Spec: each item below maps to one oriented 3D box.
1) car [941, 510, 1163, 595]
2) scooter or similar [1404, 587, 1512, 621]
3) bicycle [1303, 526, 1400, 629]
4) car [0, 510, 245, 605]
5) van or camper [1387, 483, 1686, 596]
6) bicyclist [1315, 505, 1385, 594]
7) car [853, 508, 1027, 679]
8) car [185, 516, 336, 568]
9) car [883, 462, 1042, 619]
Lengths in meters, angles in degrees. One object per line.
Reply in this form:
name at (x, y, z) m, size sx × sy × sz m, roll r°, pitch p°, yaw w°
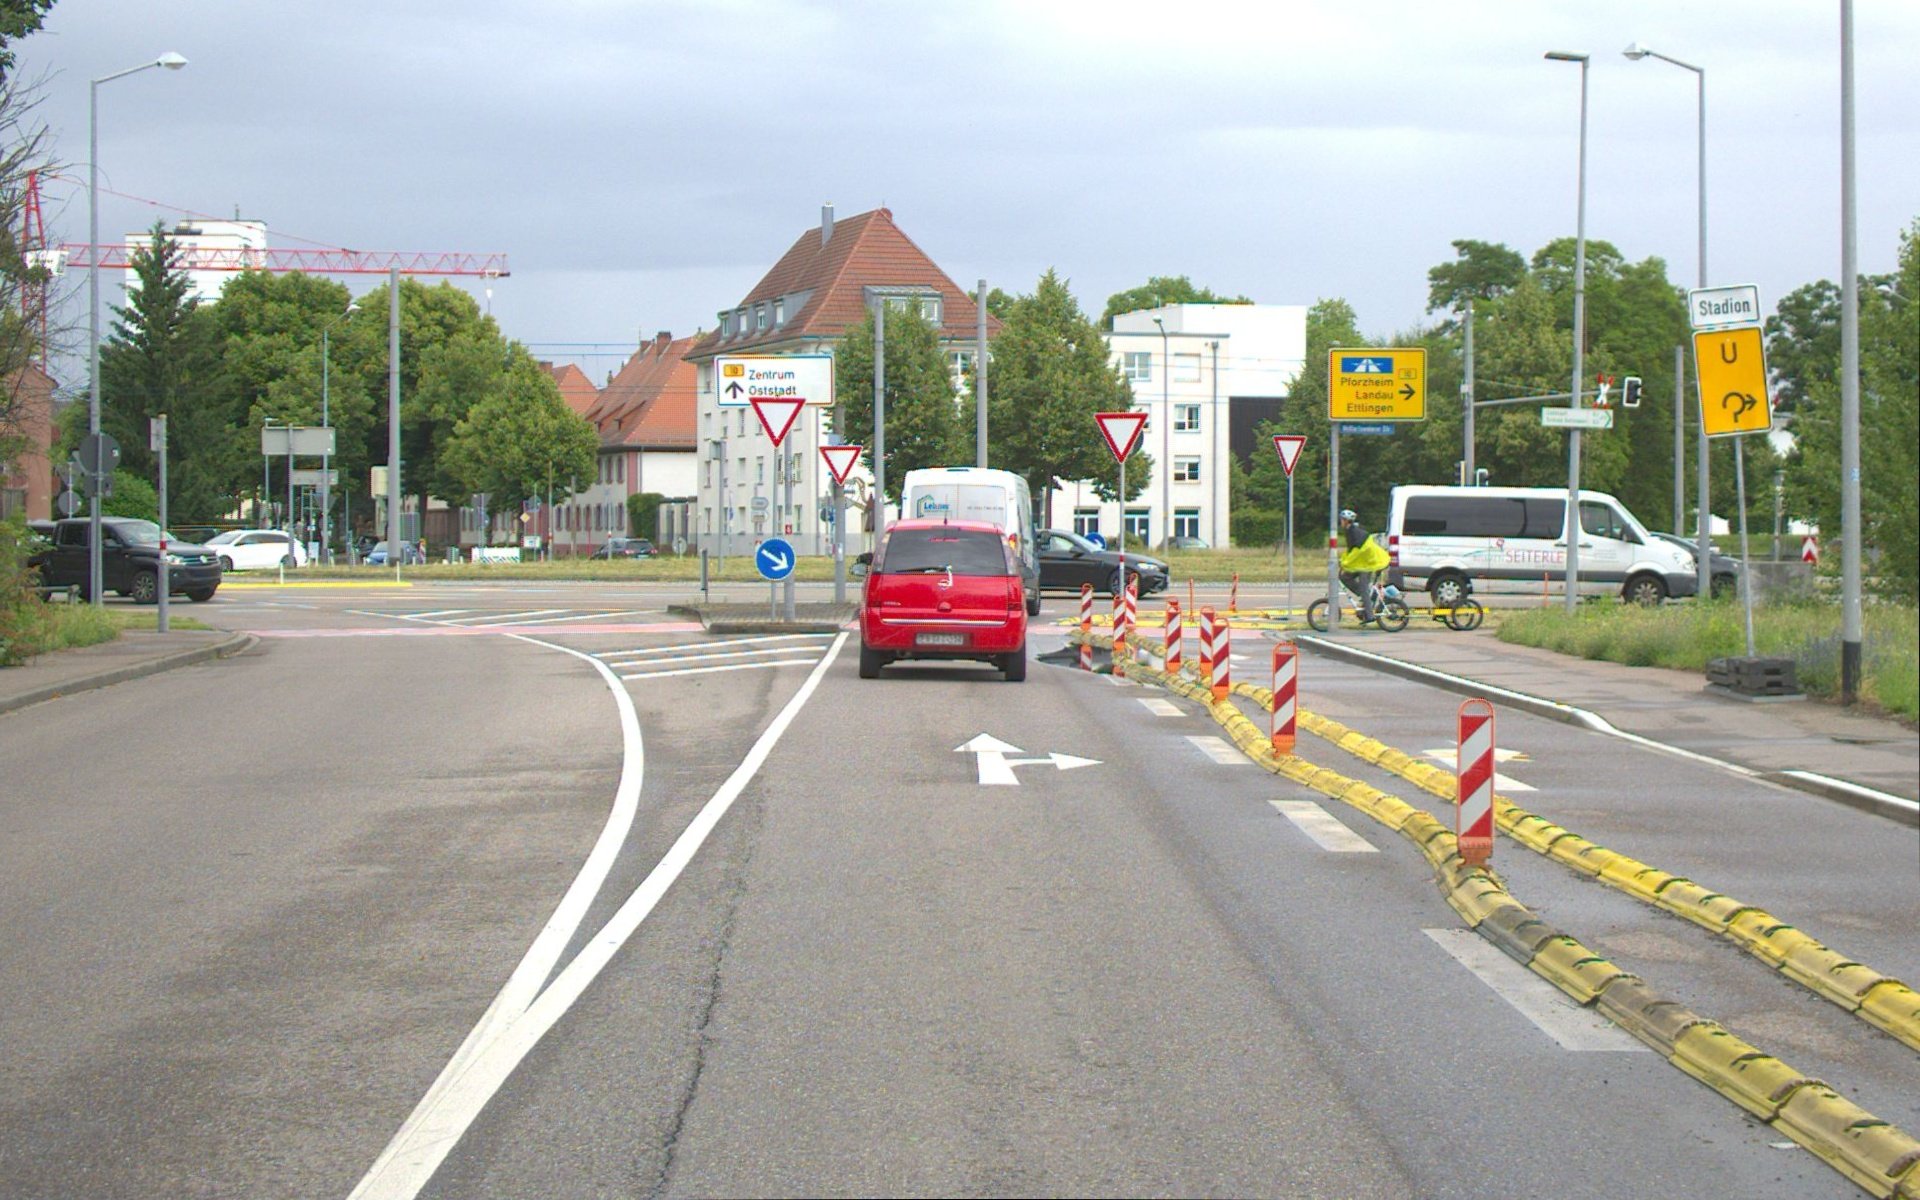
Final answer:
car at (1.923, -0.991, 71.233) m, size 4.362 × 1.744 × 1.999 m, roll 0°, pitch 1°, yaw 10°
scooter or similar at (7.800, 0.061, 53.918) m, size 1.607 × 0.502 × 0.924 m, roll 0°, pitch 1°, yaw 3°
bicycle at (6.153, -0.363, 54.033) m, size 1.477 × 1.606 × 0.606 m, roll 0°, pitch 1°, yaw 3°
car at (-18.020, -0.926, 73.478) m, size 5.032 × 1.965 × 2.221 m, roll 0°, pitch 1°, yaw 24°
van or camper at (10.934, -1.153, 65.533) m, size 5.536 × 2.108 × 1.999 m, roll 0°, pitch 1°, yaw 8°
bicyclist at (6.125, -0.791, 54.020) m, size 1.062 × 1.396 × 0.615 m, roll 0°, pitch 1°, yaw 3°
car at (-0.205, -0.099, 35.432) m, size 1.673 × 1.635 × 3.627 m, roll 1°, pitch 1°, yaw 0°
car at (-22.584, -1.880, 111.194) m, size 1.998 × 1.629 × 4.665 m, roll 1°, pitch 1°, yaw 36°
car at (0.099, -1.022, 58.784) m, size 2.195 × 2.531 × 4.961 m, roll 1°, pitch 1°, yaw 6°
